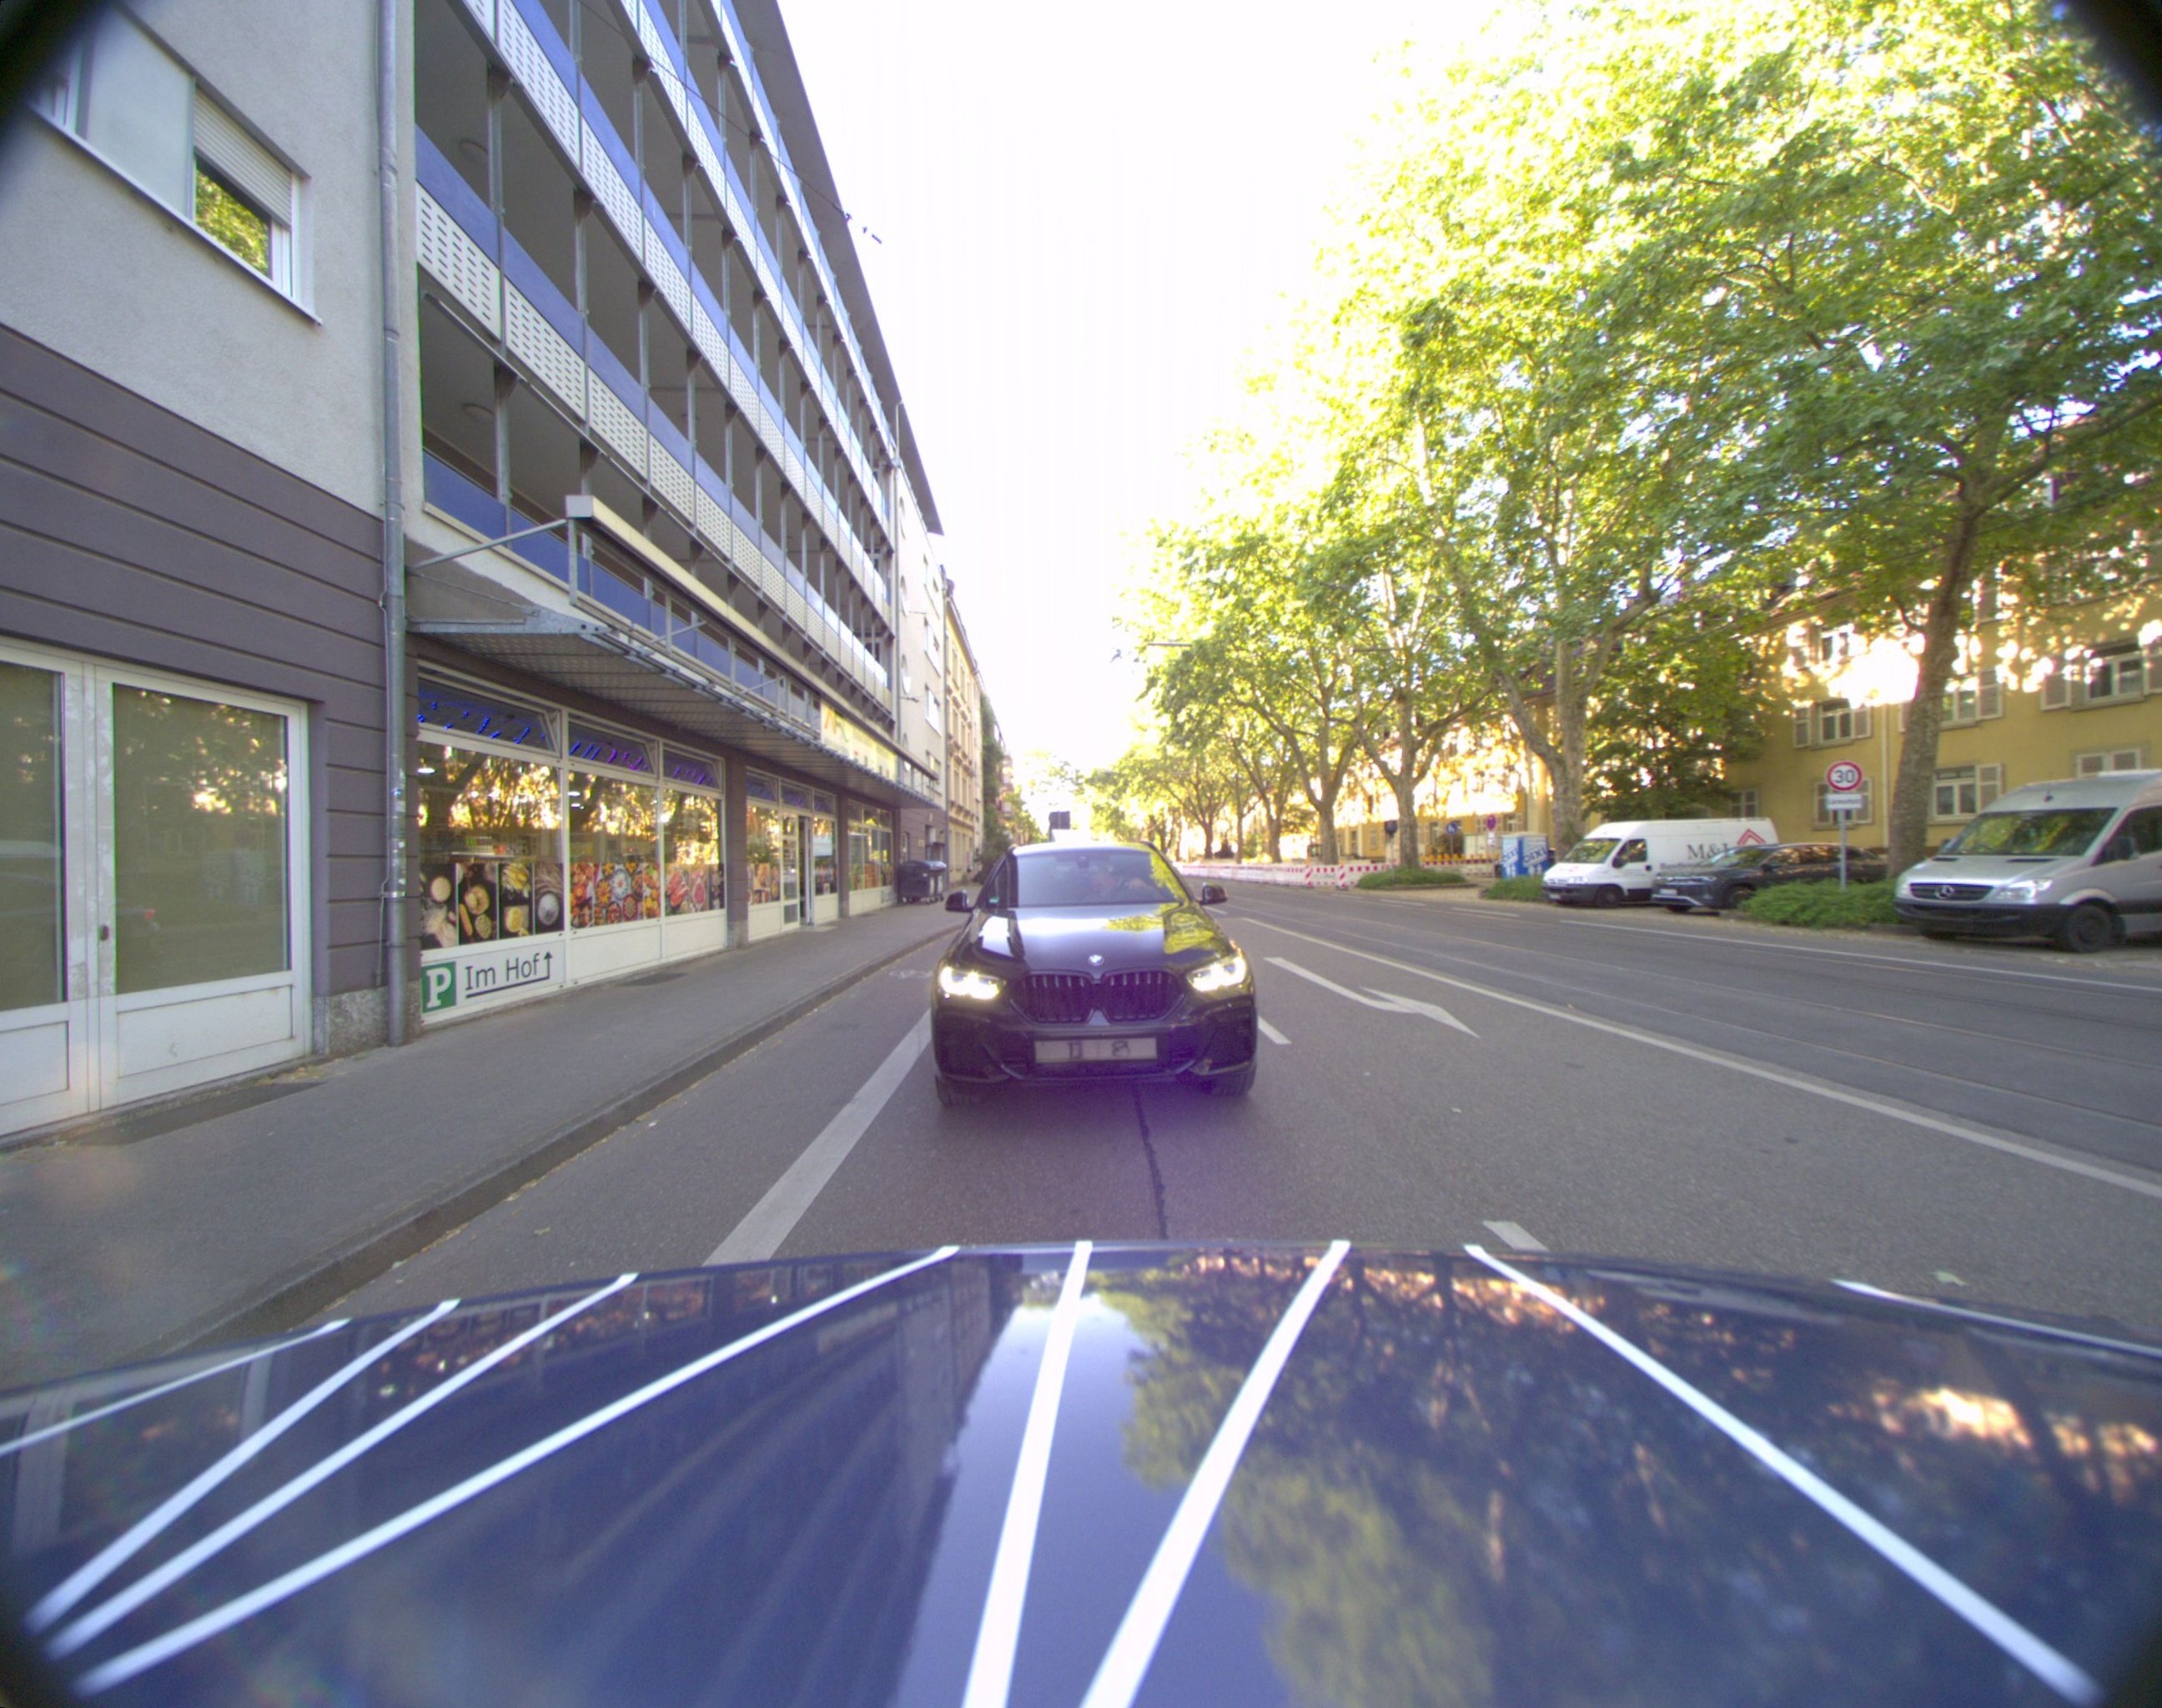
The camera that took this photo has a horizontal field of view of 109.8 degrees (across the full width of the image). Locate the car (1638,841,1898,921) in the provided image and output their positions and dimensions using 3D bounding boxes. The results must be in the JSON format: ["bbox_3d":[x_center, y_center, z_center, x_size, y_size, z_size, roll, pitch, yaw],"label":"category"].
[{"bbox_3d":[15.996,0.605,17.856,4.540,1.624,1.693,-2,1,1],"label":"car"}]

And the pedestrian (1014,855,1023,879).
[{"bbox_3d":[-4.381,0.905,53.481,0.541,1.662,0.513,-1,0,1],"label":"pedestrian"}]

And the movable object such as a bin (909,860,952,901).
[{"bbox_3d":[-5.280,0.923,26.827,1.203,1.402,1.372,-1,0,1],"label":"movable object such as a bin"}]

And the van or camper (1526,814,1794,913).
[{"bbox_3d":[15.874,0.243,21.067,5.763,2.371,2.156,-2,1,0],"label":"van or camper"}]

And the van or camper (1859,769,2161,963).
[{"bbox_3d":[16.007,0.086,11.660,5.931,2.633,2.156,-2,1,0],"label":"van or camper"}]

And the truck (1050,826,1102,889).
[{"bbox_3d":[-0.365,0.163,41.110,2.344,3.095,5.210,-2,1,-4],"label":"truck"}]

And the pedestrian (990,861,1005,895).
[{"bbox_3d":[-3.594,1.018,32.855,0.541,1.437,0.630,-1,0,1],"label":"pedestrian"}]

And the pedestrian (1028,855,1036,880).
[{"bbox_3d":[-3.353,0.937,52.019,0.541,1.662,0.630,-1,0,1],"label":"pedestrian"}]

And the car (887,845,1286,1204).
[{"bbox_3d":[0.070,0.835,6.146,1.930,1.742,4.683,-2,1,1],"label":"car"}]

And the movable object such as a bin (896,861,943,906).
[{"bbox_3d":[-5.255,0.944,24.828,1.203,1.402,1.372,-1,0,1],"label":"movable object such as a bin"}]
